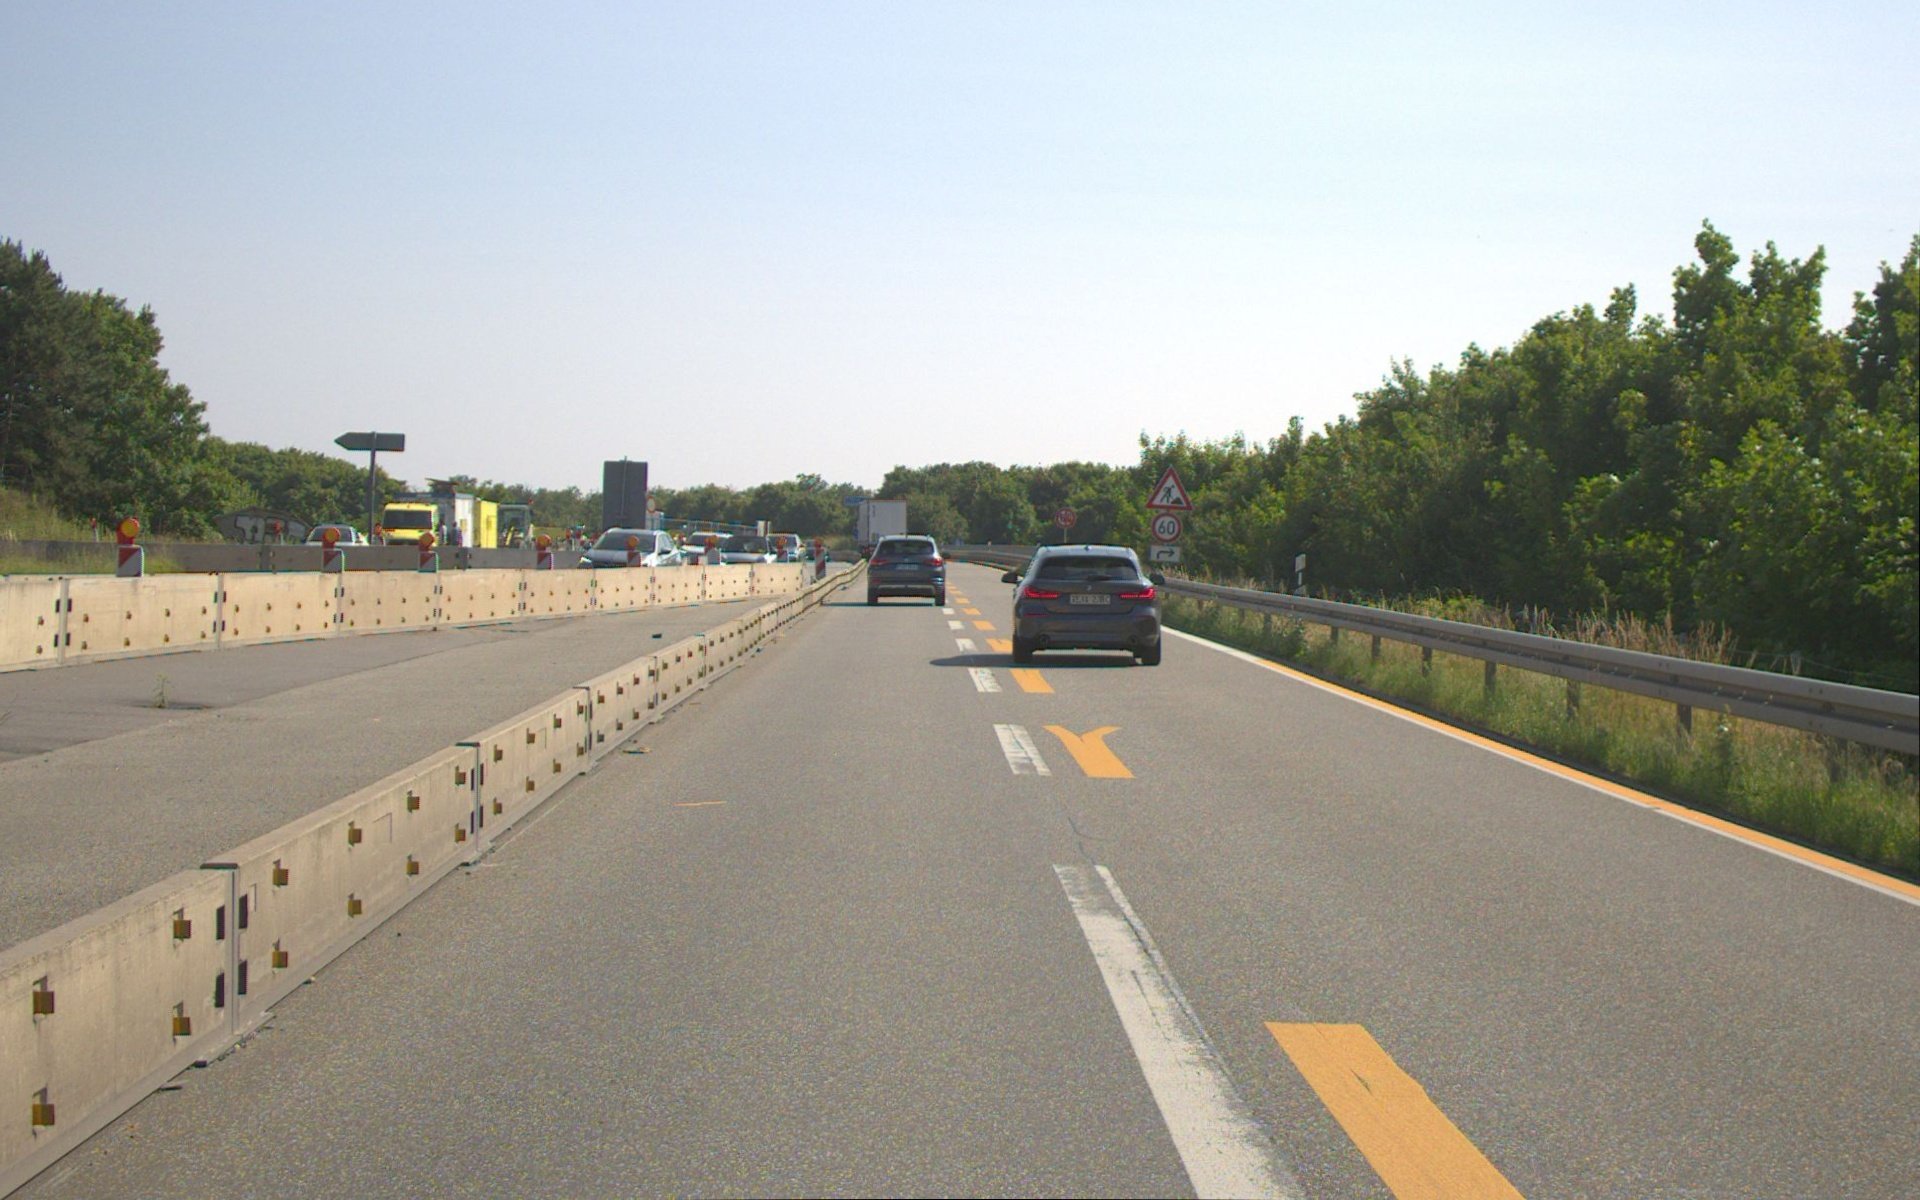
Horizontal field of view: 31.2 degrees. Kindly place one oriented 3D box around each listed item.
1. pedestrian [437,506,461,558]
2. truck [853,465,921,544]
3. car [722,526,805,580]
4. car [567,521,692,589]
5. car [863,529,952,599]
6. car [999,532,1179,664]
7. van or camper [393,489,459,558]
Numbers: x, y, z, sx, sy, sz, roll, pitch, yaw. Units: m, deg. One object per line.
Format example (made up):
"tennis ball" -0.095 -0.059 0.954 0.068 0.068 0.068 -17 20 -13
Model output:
"pedestrian" -17.872 -2.378 120.157 0.740 1.814 0.797 1 1 -12
"truck" -4.865 -6.261 226.304 3.760 4.894 14.139 1 1 -4
"car" -5.701 -1.389 100.275 1.711 1.510 4.177 1 1 7
"car" -7.783 -1.078 81.355 1.994 1.510 4.579 1 1 7
"car" -1.183 -0.848 79.112 1.993 1.561 4.000 0 1 0
"car" 1.548 -0.061 42.568 1.920 1.488 4.001 2 1 -2
"van or camper" -19.100 -2.750 123.157 1.993 2.369 6.203 1 1 -6
